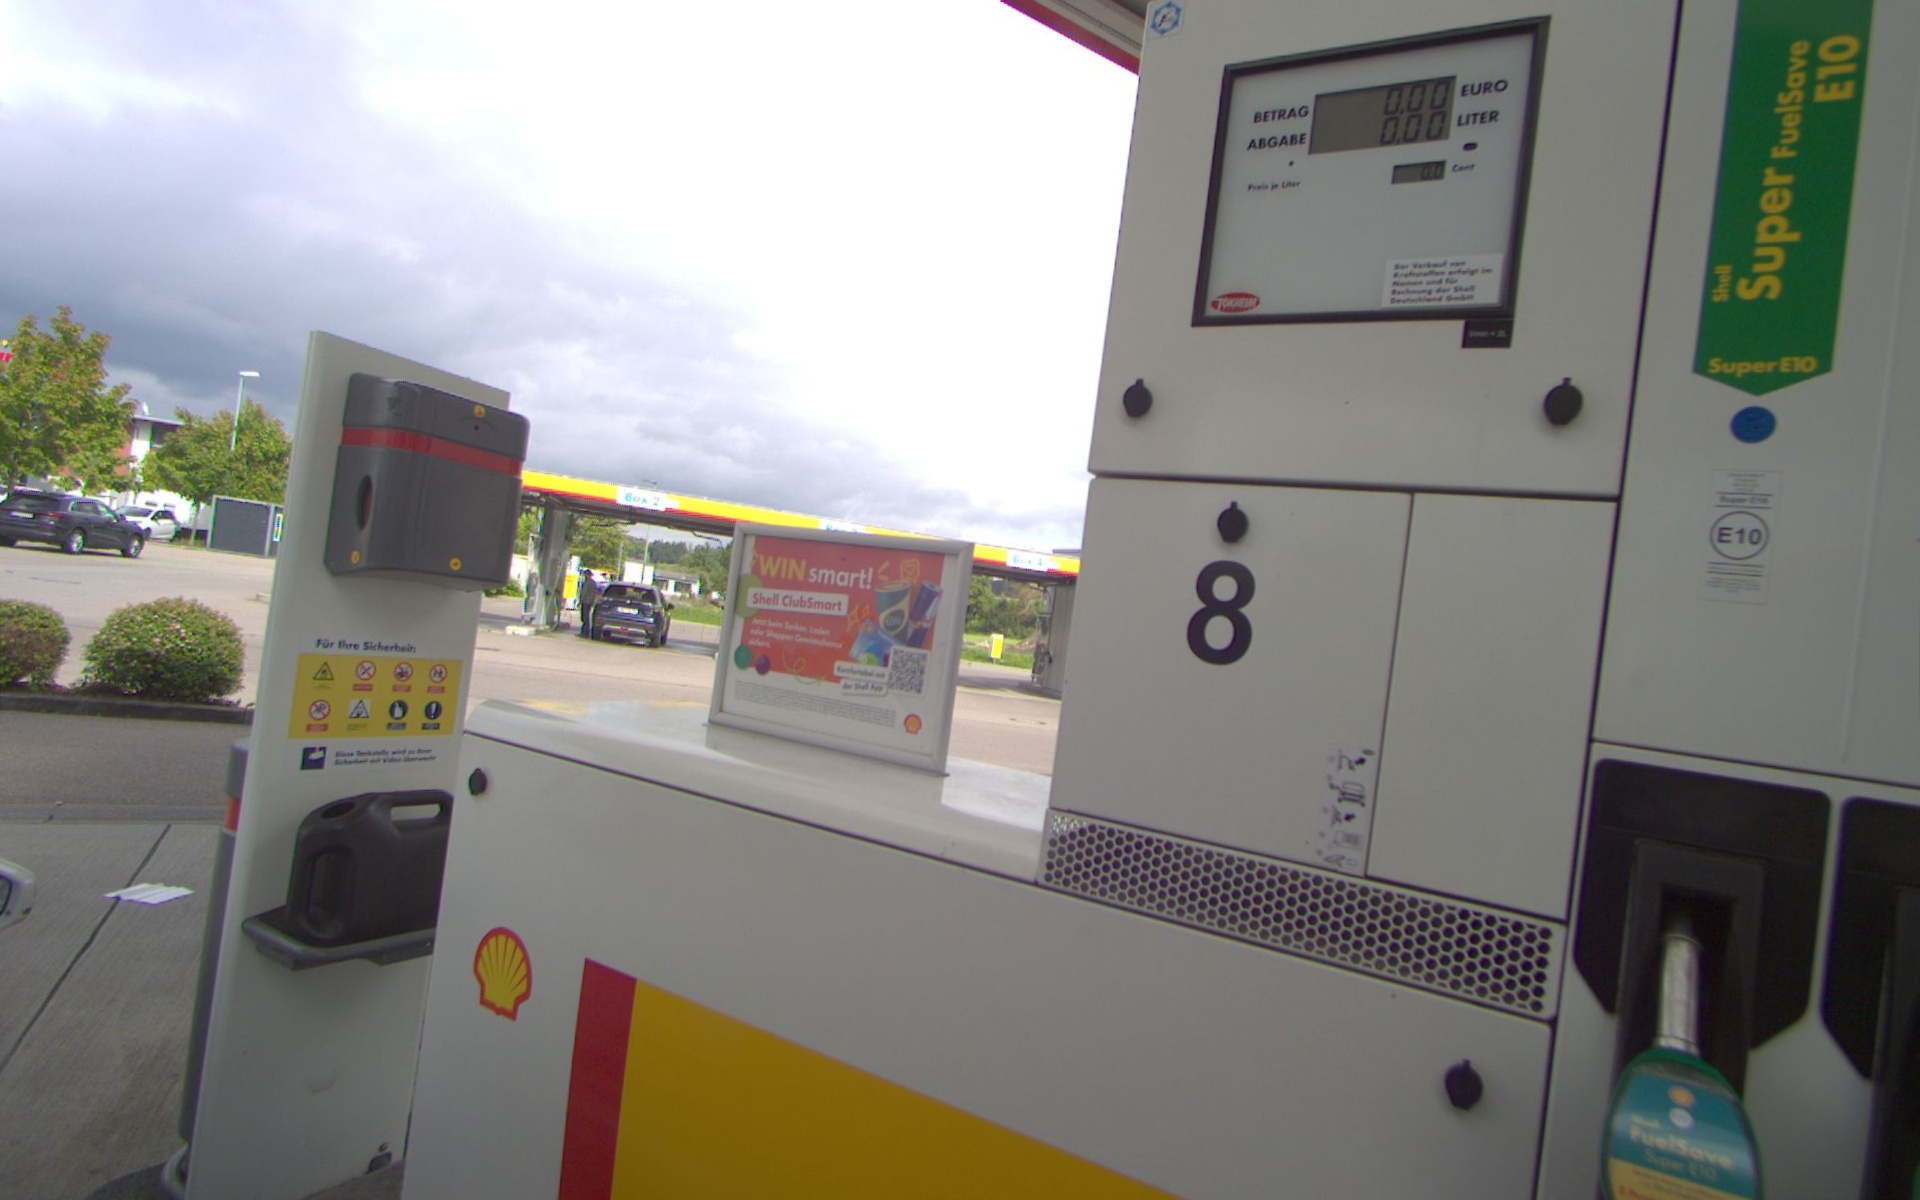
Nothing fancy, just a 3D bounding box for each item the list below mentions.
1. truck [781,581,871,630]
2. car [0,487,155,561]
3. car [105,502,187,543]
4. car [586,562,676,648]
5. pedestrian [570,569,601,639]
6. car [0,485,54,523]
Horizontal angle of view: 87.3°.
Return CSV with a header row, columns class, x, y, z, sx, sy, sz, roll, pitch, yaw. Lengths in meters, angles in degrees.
class,x,y,z,sx,sy,sz,roll,pitch,yaw
truck,-13.008,0.551,97.515,7.978,3.575,2.687,8,-2,-19
car,-25.933,-2.166,29.271,1.855,1.566,4.498,8,-2,-10
car,-35.260,-3.339,43.658,1.346,1.322,3.098,8,-2,-12
car,-8.701,0.149,26.870,1.696,1.919,3.800,8,-2,-12
pedestrian,-9.742,0.096,26.151,0.550,1.742,0.526,7,-1,-21
car,-57.359,-5.901,60.257,2.149,1.854,4.870,8,-2,-11
